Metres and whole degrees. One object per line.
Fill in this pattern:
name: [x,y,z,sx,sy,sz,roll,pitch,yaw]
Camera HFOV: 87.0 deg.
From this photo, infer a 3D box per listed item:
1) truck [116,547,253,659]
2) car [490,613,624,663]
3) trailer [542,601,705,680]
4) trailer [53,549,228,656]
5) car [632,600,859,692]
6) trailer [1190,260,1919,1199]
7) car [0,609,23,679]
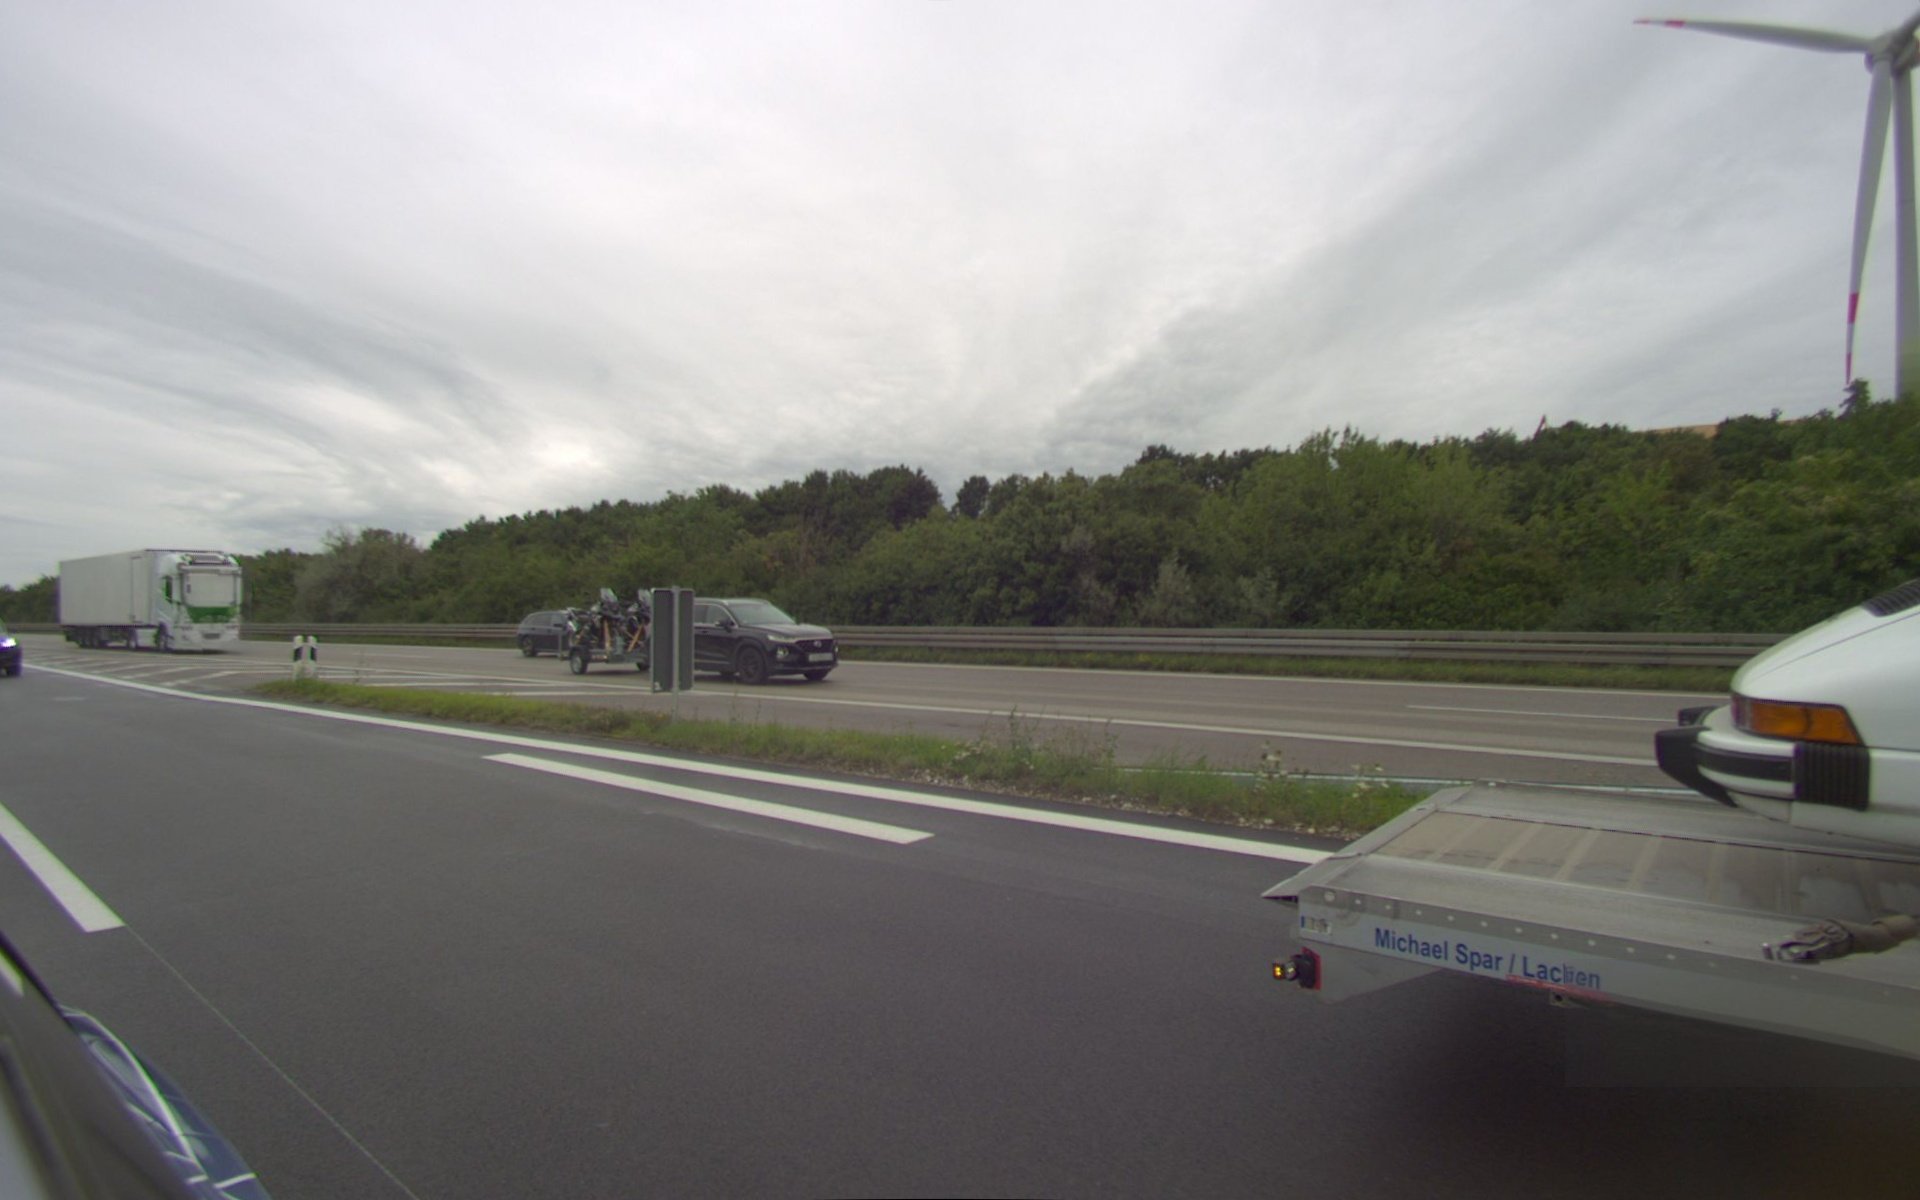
truck: [-31.337,0.129,40.823,6.434,4.166,2.741,-1,0,37]
car: [-12.756,1.154,31.905,4.768,1.402,1.786,0,0,38]
trailer: [-7.707,0.848,23.098,3.606,1.638,1.864,0,0,38]
trailer: [-36.522,0.153,44.773,13.928,4.166,2.740,-1,0,37]
car: [-4.438,0.834,20.527,4.800,1.638,1.864,0,0,38]
trailer: [4.192,0.281,1.756,7.057,2.009,2.460,-1,0,40]
car: [-25.005,1.078,25.186,4.550,1.650,1.941,0,0,40]
